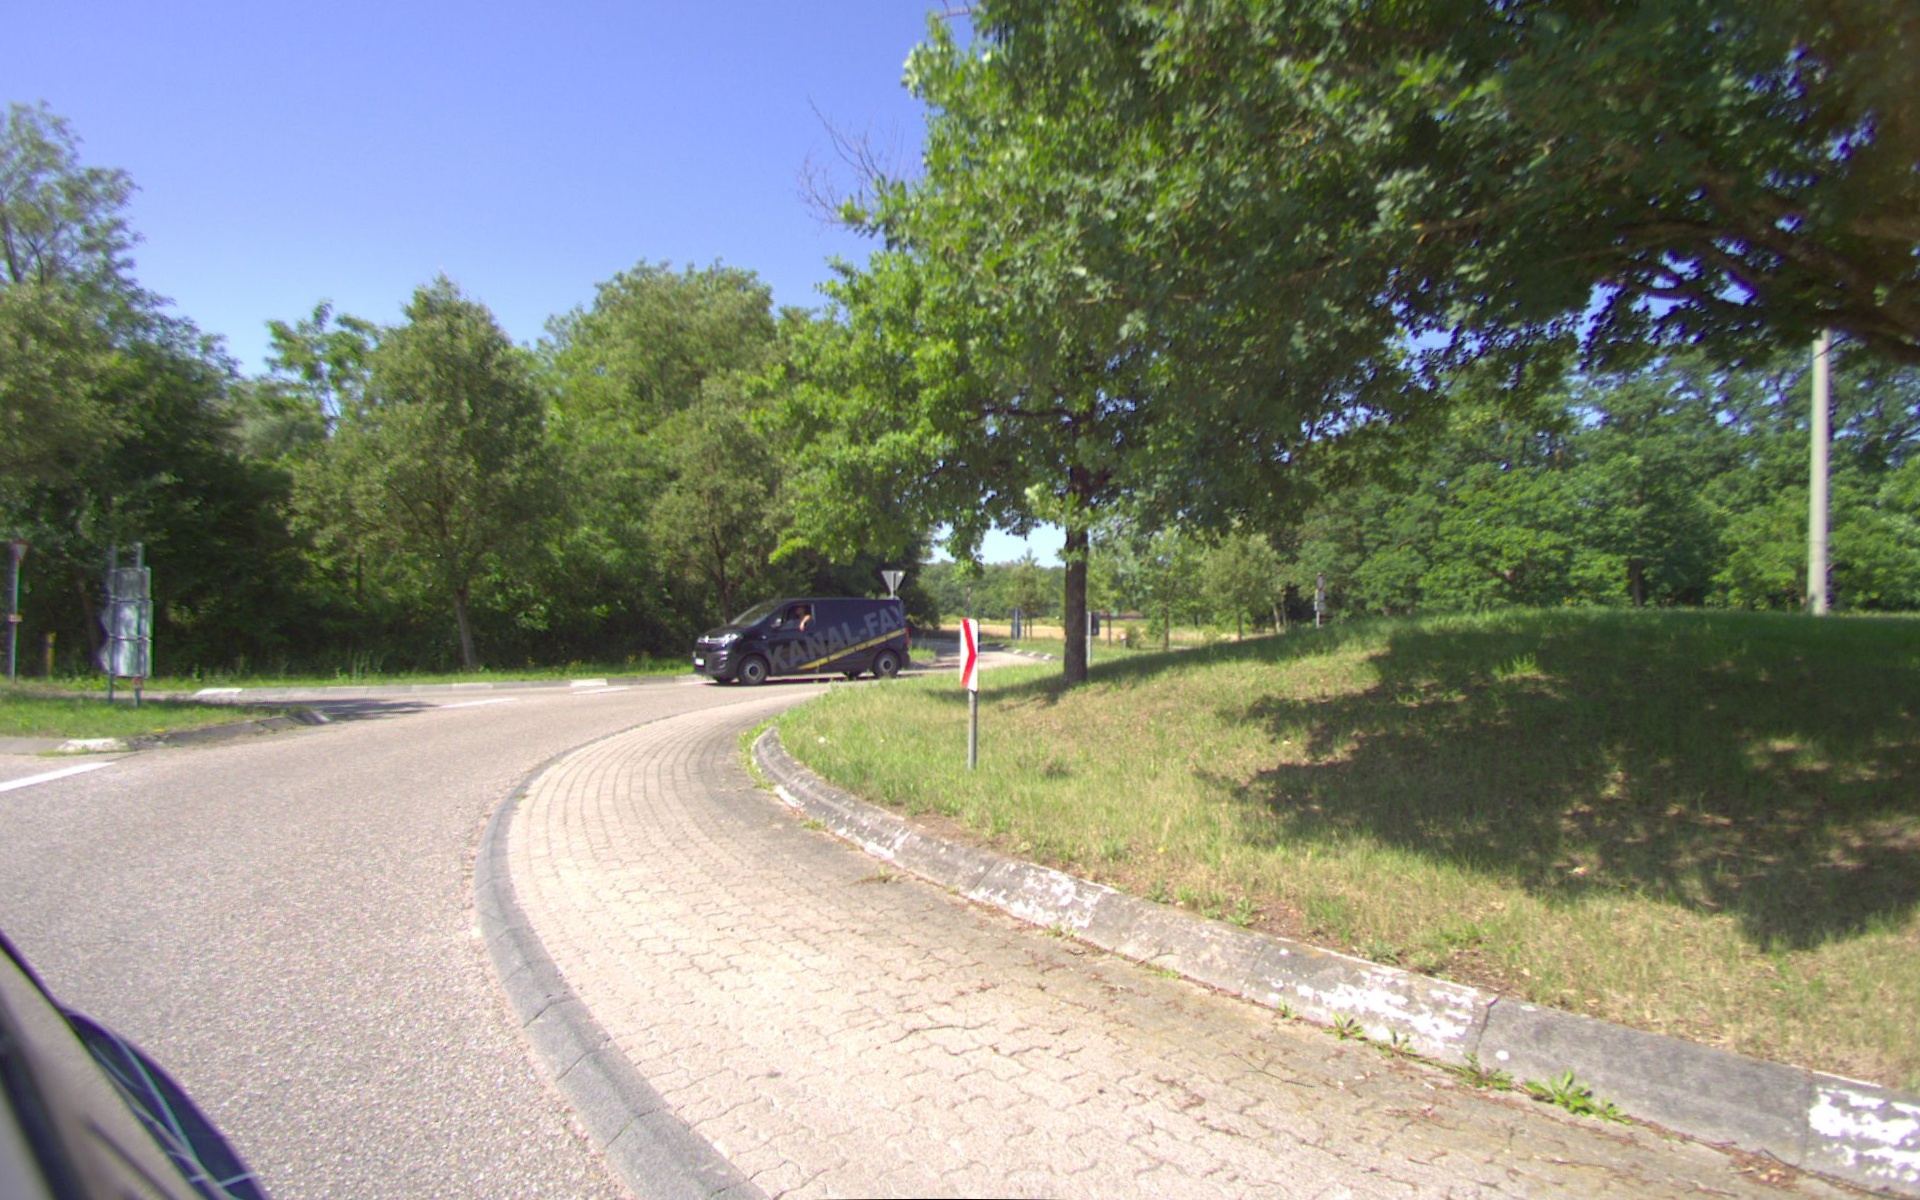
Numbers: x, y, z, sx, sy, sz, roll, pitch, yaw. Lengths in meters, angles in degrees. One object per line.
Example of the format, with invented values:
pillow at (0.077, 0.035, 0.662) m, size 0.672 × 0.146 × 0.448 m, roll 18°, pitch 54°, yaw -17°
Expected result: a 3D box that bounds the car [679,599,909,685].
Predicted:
car at (-3.651, 0.880, 22.641) m, size 4.640 × 1.727 × 2.107 m, roll 1°, pitch -1°, yaw -36°
